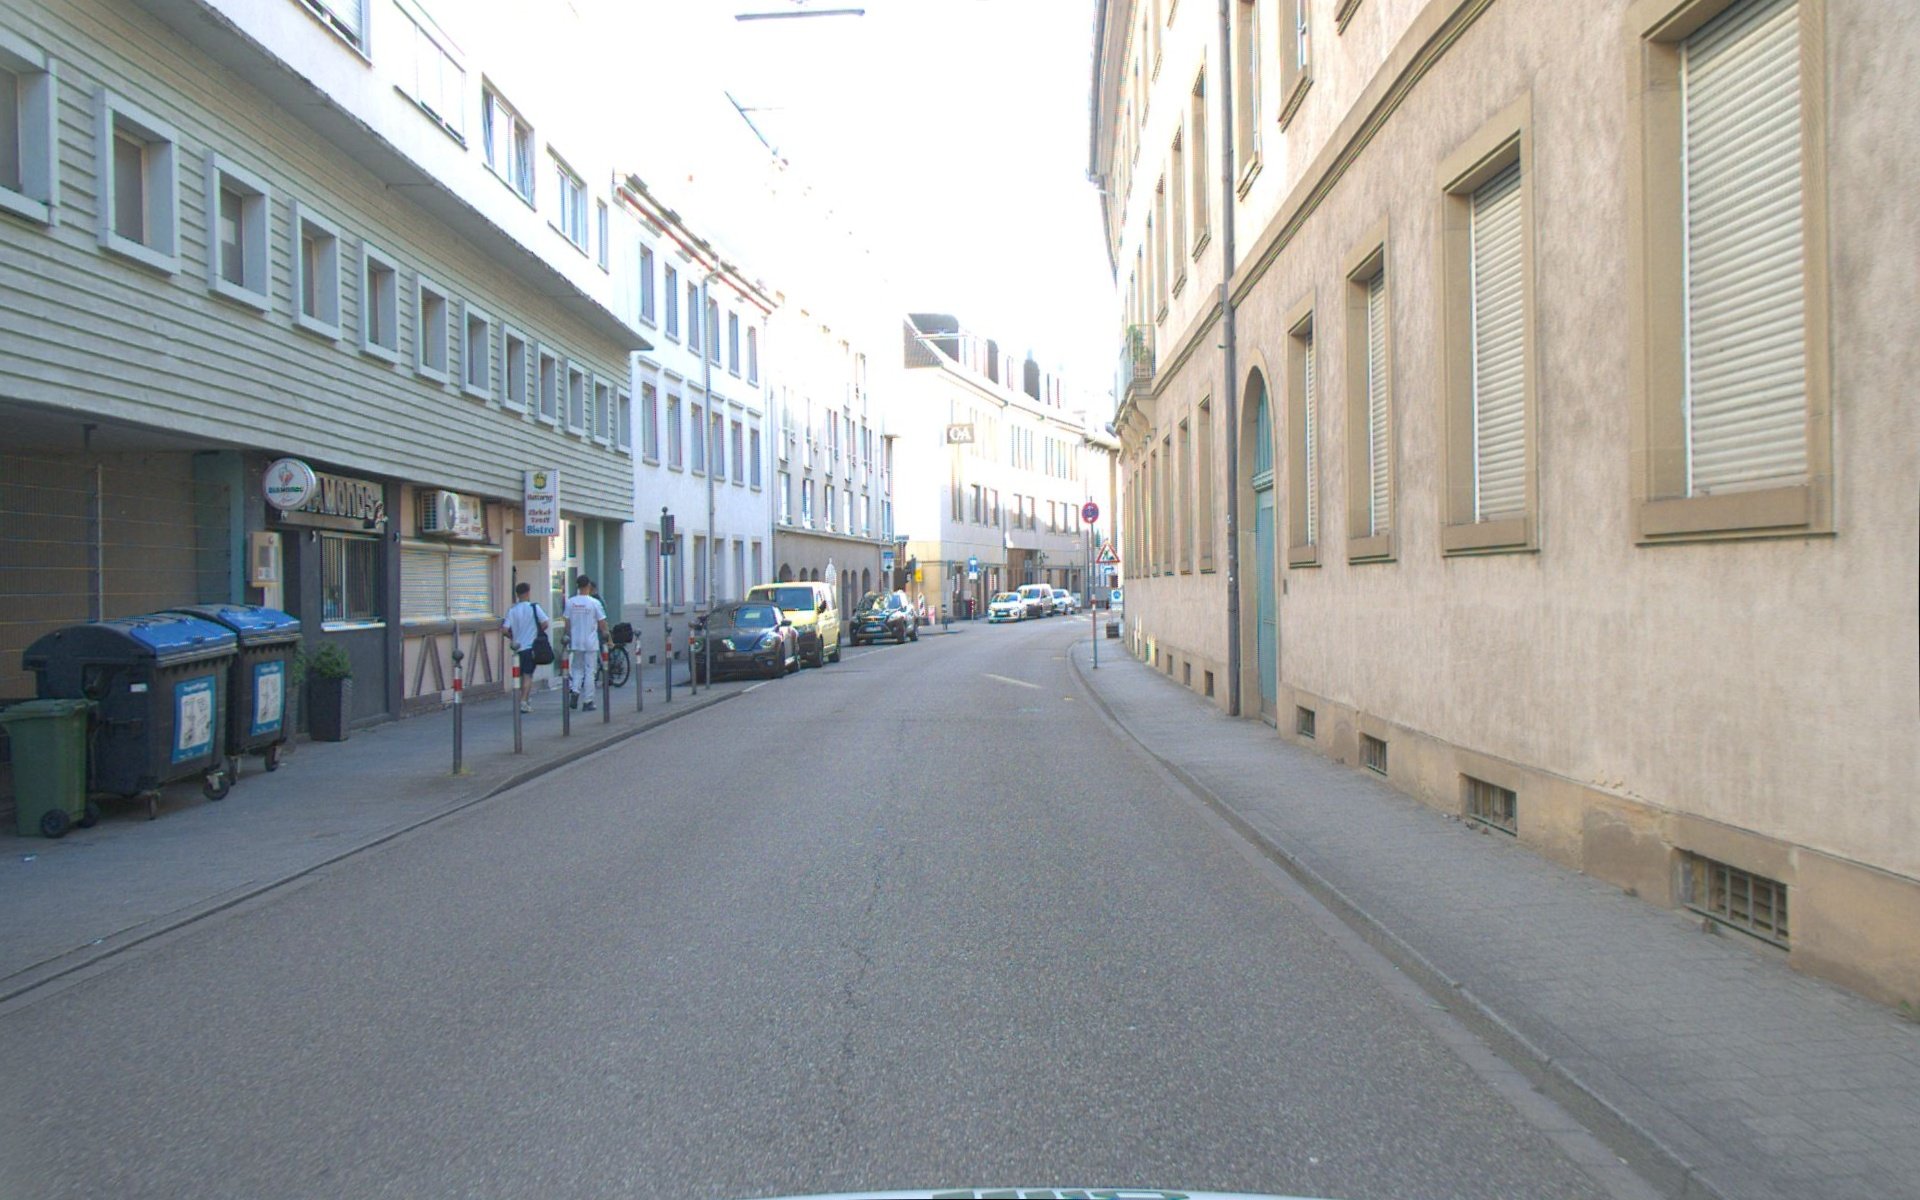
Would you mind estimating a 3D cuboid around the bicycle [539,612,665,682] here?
[{"bbox_3d":[-6.318,0.819,29.170,2.086,1.183,0.823,-1,0,24],"label":"bicycle"}]

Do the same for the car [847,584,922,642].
[{"bbox_3d":[-2.462,0.399,54.727,1.703,1.740,4.194,-3,0,7],"label":"car"}]

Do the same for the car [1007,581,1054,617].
[{"bbox_3d":[3.894,-0.083,90.719,1.635,1.850,4.556,-2,0,14],"label":"car"}]

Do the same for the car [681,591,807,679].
[{"bbox_3d":[-4.191,0.639,32.710,1.781,1.512,4.077,-3,0,1],"label":"car"}]

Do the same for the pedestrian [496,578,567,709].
[{"bbox_3d":[-5.755,0.568,22.246,0.658,1.699,0.895,-2,0,2],"label":"pedestrian"}]

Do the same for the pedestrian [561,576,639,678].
[{"bbox_3d":[-6.353,0.472,29.183,1.056,1.759,0.801,-1,0,24],"label":"pedestrian"}]

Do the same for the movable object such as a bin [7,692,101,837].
[{"bbox_3d":[-6.390,1.150,11.675,0.385,0.958,0.467,-1,1,0],"label":"movable object such as a bin"}]

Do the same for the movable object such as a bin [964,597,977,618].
[{"bbox_3d":[0.553,0.405,86.459,0.596,1.079,0.714,2,0,6],"label":"movable object such as a bin"}]

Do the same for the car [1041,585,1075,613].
[{"bbox_3d":[5.736,-0.079,96.700,1.244,1.533,3.404,-2,0,15],"label":"car"}]

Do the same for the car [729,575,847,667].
[{"bbox_3d":[-3.888,0.435,38.180,1.841,1.899,4.866,-3,0,3],"label":"car"}]

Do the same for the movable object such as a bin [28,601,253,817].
[{"bbox_3d":[-6.231,0.787,12.676,0.949,1.497,1.474,-1,2,0],"label":"movable object such as a bin"}]

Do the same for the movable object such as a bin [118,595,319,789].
[{"bbox_3d":[-6.365,0.754,14.296,1.099,1.547,1.342,-1,1,0],"label":"movable object such as a bin"}]

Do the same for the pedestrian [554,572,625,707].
[{"bbox_3d":[-5.002,0.521,22.372,0.683,1.764,0.829,-2,0,2],"label":"pedestrian"}]

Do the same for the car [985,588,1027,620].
[{"bbox_3d":[2.370,0.184,85.015,1.635,1.533,3.797,-2,0,9],"label":"car"}]
